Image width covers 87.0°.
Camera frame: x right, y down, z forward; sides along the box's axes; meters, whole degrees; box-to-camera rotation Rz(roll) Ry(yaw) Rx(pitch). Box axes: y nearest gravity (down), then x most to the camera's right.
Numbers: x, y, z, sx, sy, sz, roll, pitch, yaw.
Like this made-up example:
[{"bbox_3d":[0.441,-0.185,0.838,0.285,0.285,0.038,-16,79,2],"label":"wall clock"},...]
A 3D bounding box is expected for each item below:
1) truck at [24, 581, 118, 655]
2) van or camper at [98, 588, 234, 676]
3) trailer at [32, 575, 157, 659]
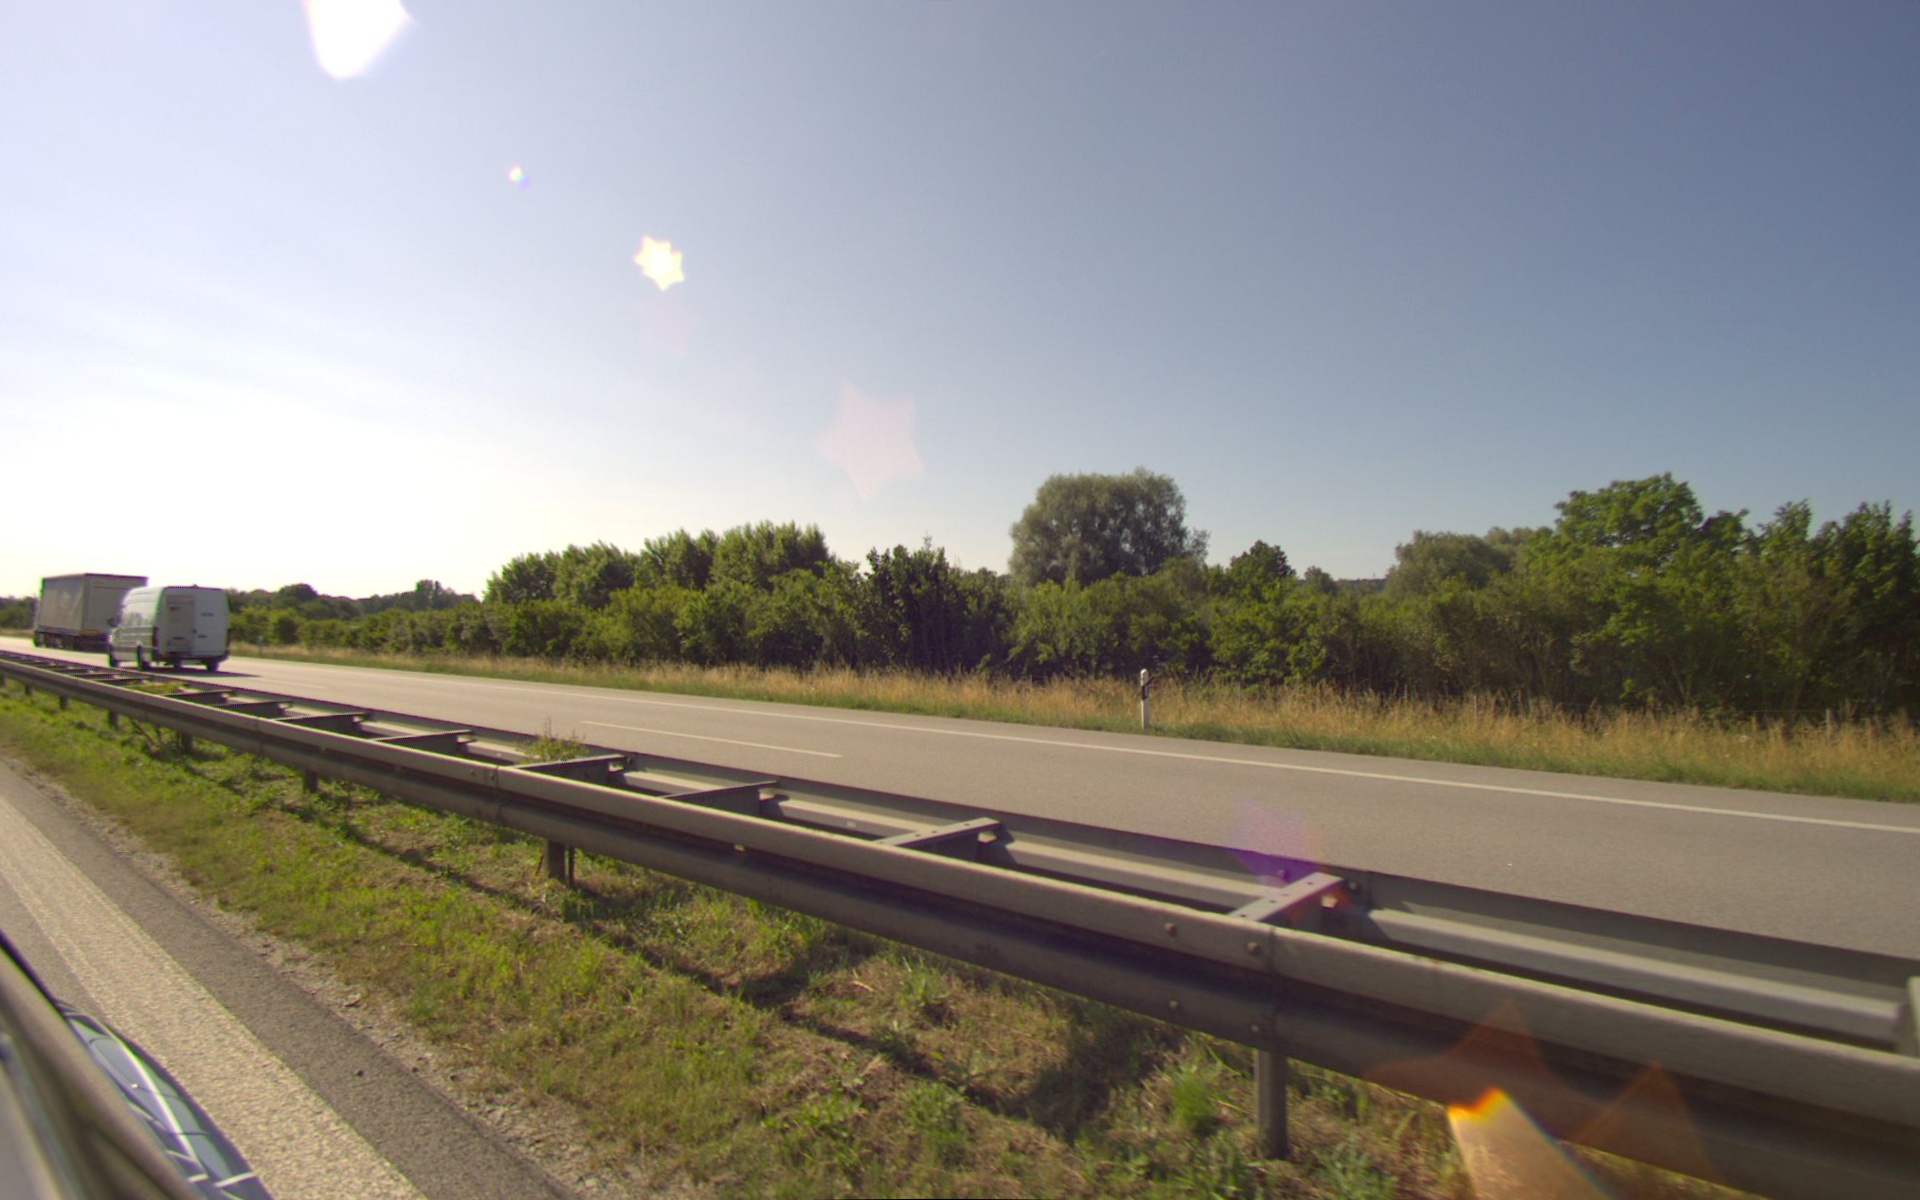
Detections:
[{"bbox_3d":[-52.935,1.109,60.211,6.383,4.145,3.136,-1,-4,40],"label":"truck"},{"bbox_3d":[-25.387,1.009,32.233,7.224,2.516,1.973,-1,-3,41],"label":"van or camper"},{"bbox_3d":[-48.063,0.999,55.921,14.594,4.090,3.150,-1,-4,42],"label":"trailer"}]
